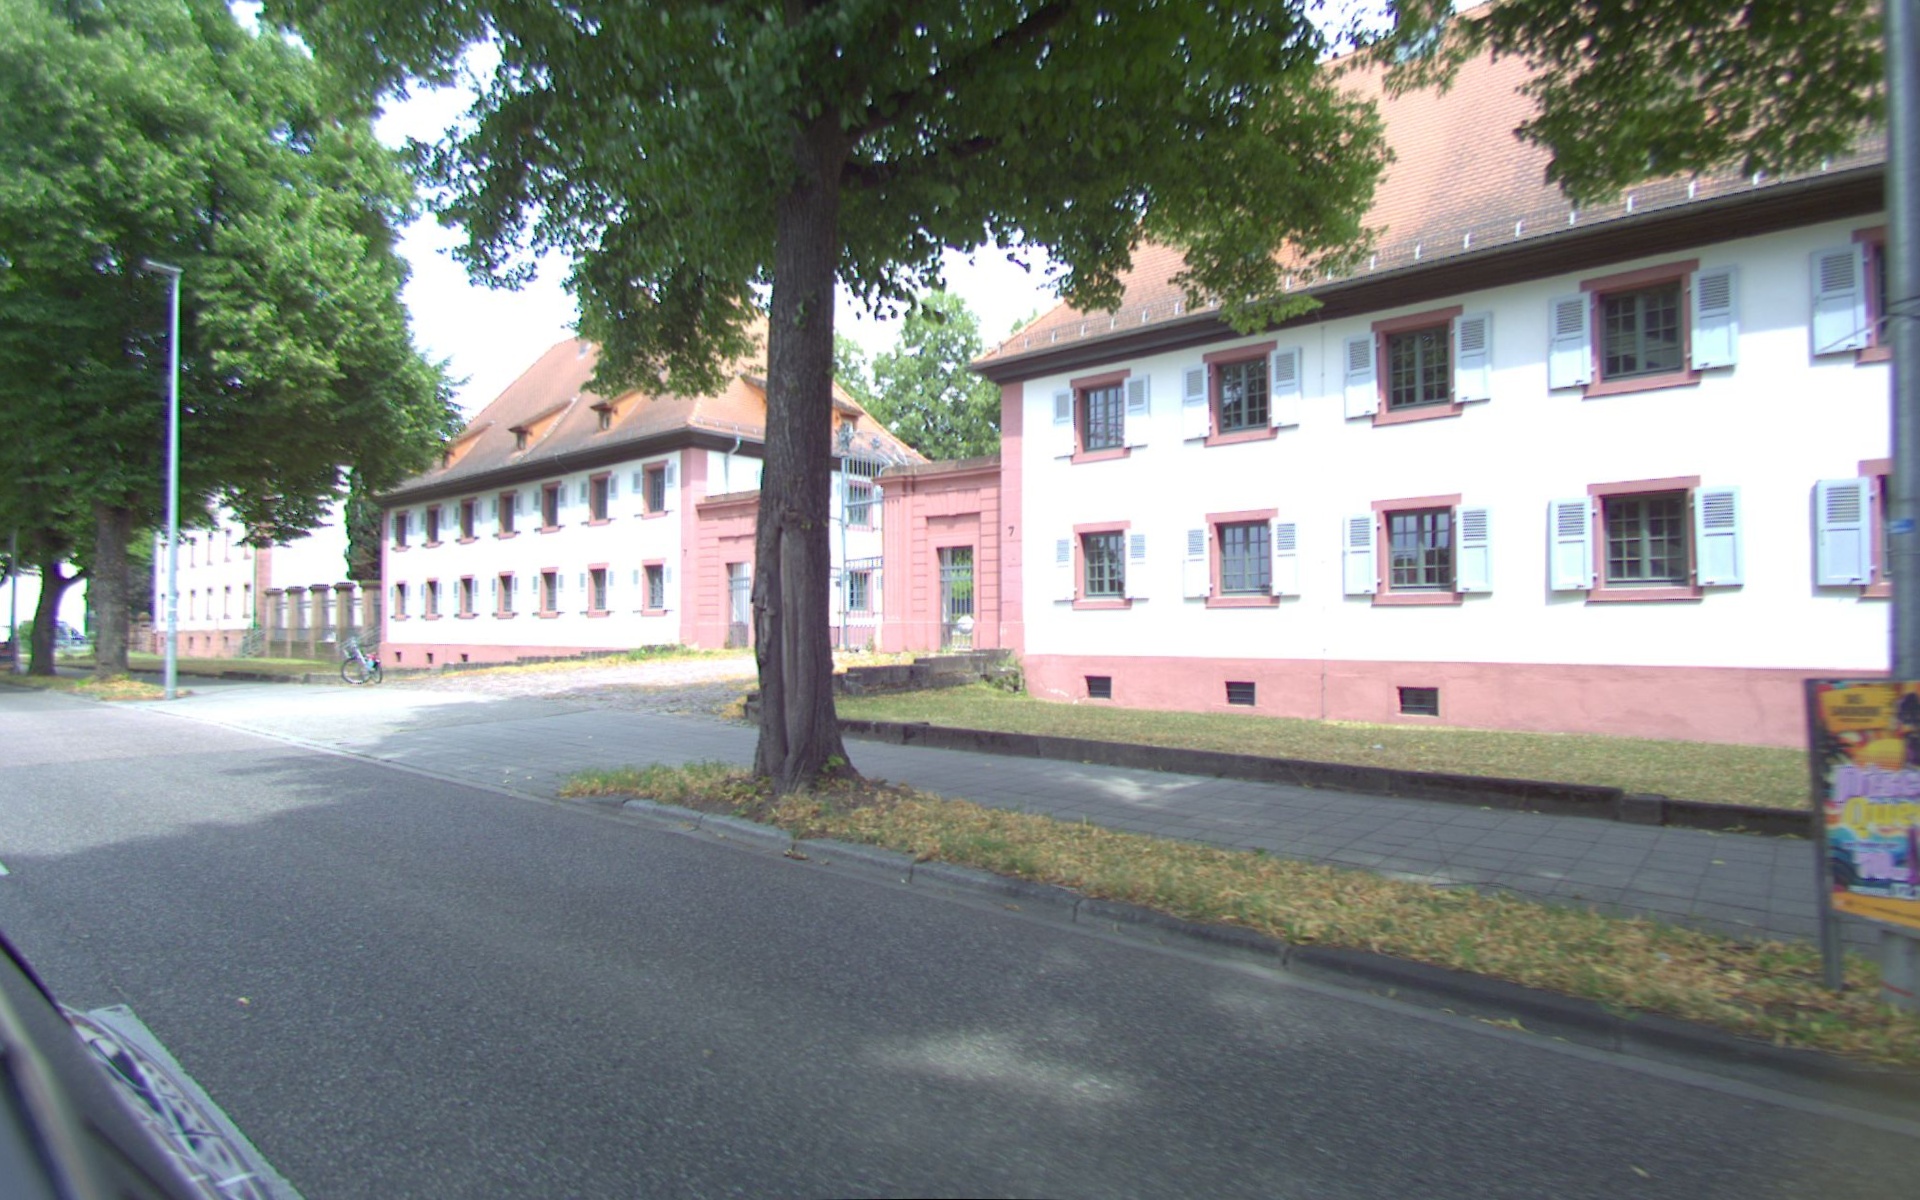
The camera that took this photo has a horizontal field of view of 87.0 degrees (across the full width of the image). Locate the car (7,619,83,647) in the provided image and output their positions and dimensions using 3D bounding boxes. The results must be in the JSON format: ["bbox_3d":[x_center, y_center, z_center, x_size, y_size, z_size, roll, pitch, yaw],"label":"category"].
[{"bbox_3d":[-90.203,3.207,99.812,2.353,2.571,5.256,-2,-1,41],"label":"car"}]

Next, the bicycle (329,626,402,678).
[{"bbox_3d":[-13.723,1.196,23.334,2.223,1.103,0.715,-2,1,40],"label":"bicycle"}]
